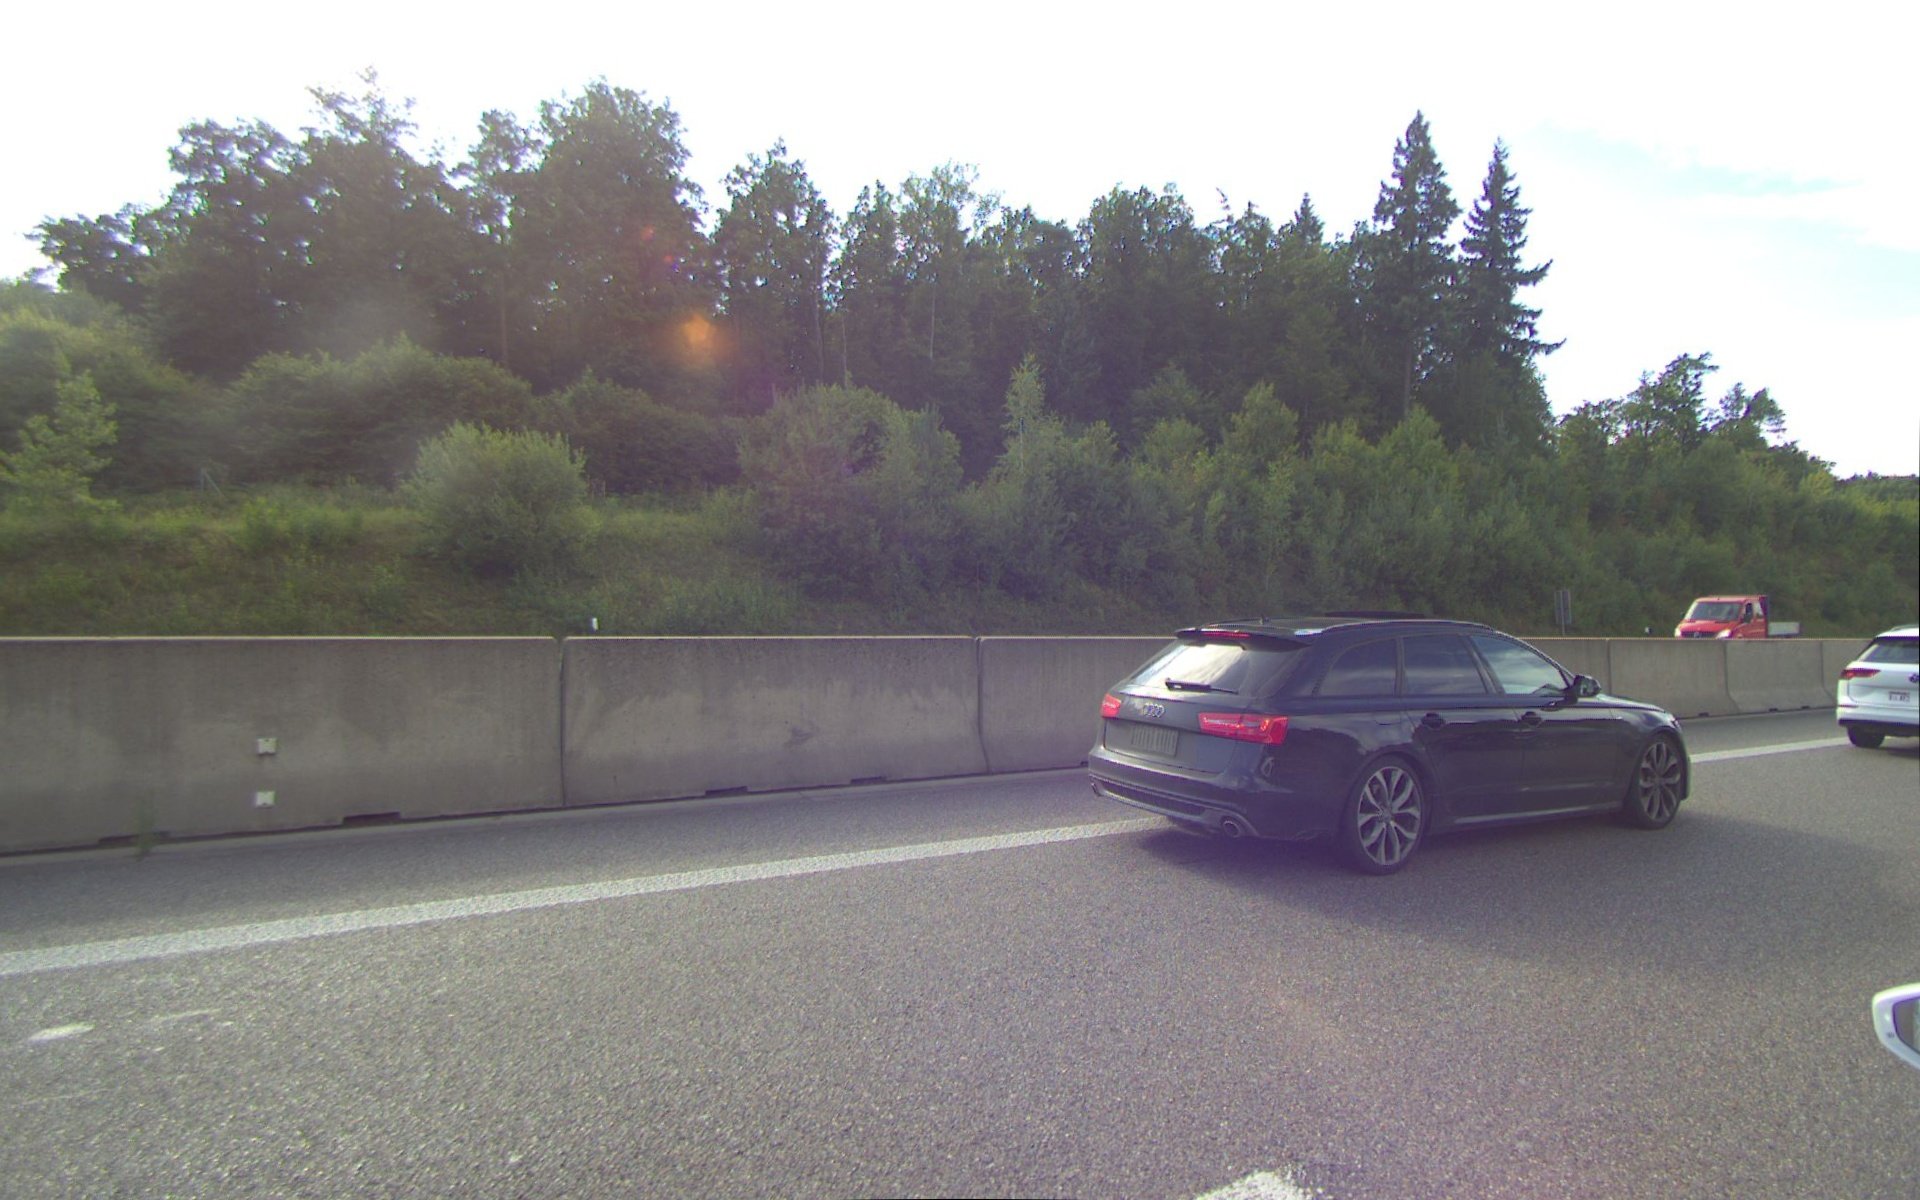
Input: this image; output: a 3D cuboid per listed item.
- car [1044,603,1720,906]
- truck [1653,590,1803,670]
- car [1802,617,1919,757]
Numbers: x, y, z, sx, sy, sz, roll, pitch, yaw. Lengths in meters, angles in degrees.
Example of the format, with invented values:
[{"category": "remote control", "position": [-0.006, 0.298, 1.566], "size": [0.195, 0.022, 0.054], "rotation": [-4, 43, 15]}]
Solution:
[{"category": "car", "position": [3.035, 0.809, 6.935], "size": [4.691, 1.475, 1.834], "rotation": [1, 0, -30]}, {"category": "truck", "position": [30.043, 1.153, 39.241], "size": [6.355, 2.893, 2.411], "rotation": [1, 0, -30]}, {"category": "car", "position": [12.090, 1.004, 11.930], "size": [4.256, 1.480, 1.797], "rotation": [2, 0, -29]}]
